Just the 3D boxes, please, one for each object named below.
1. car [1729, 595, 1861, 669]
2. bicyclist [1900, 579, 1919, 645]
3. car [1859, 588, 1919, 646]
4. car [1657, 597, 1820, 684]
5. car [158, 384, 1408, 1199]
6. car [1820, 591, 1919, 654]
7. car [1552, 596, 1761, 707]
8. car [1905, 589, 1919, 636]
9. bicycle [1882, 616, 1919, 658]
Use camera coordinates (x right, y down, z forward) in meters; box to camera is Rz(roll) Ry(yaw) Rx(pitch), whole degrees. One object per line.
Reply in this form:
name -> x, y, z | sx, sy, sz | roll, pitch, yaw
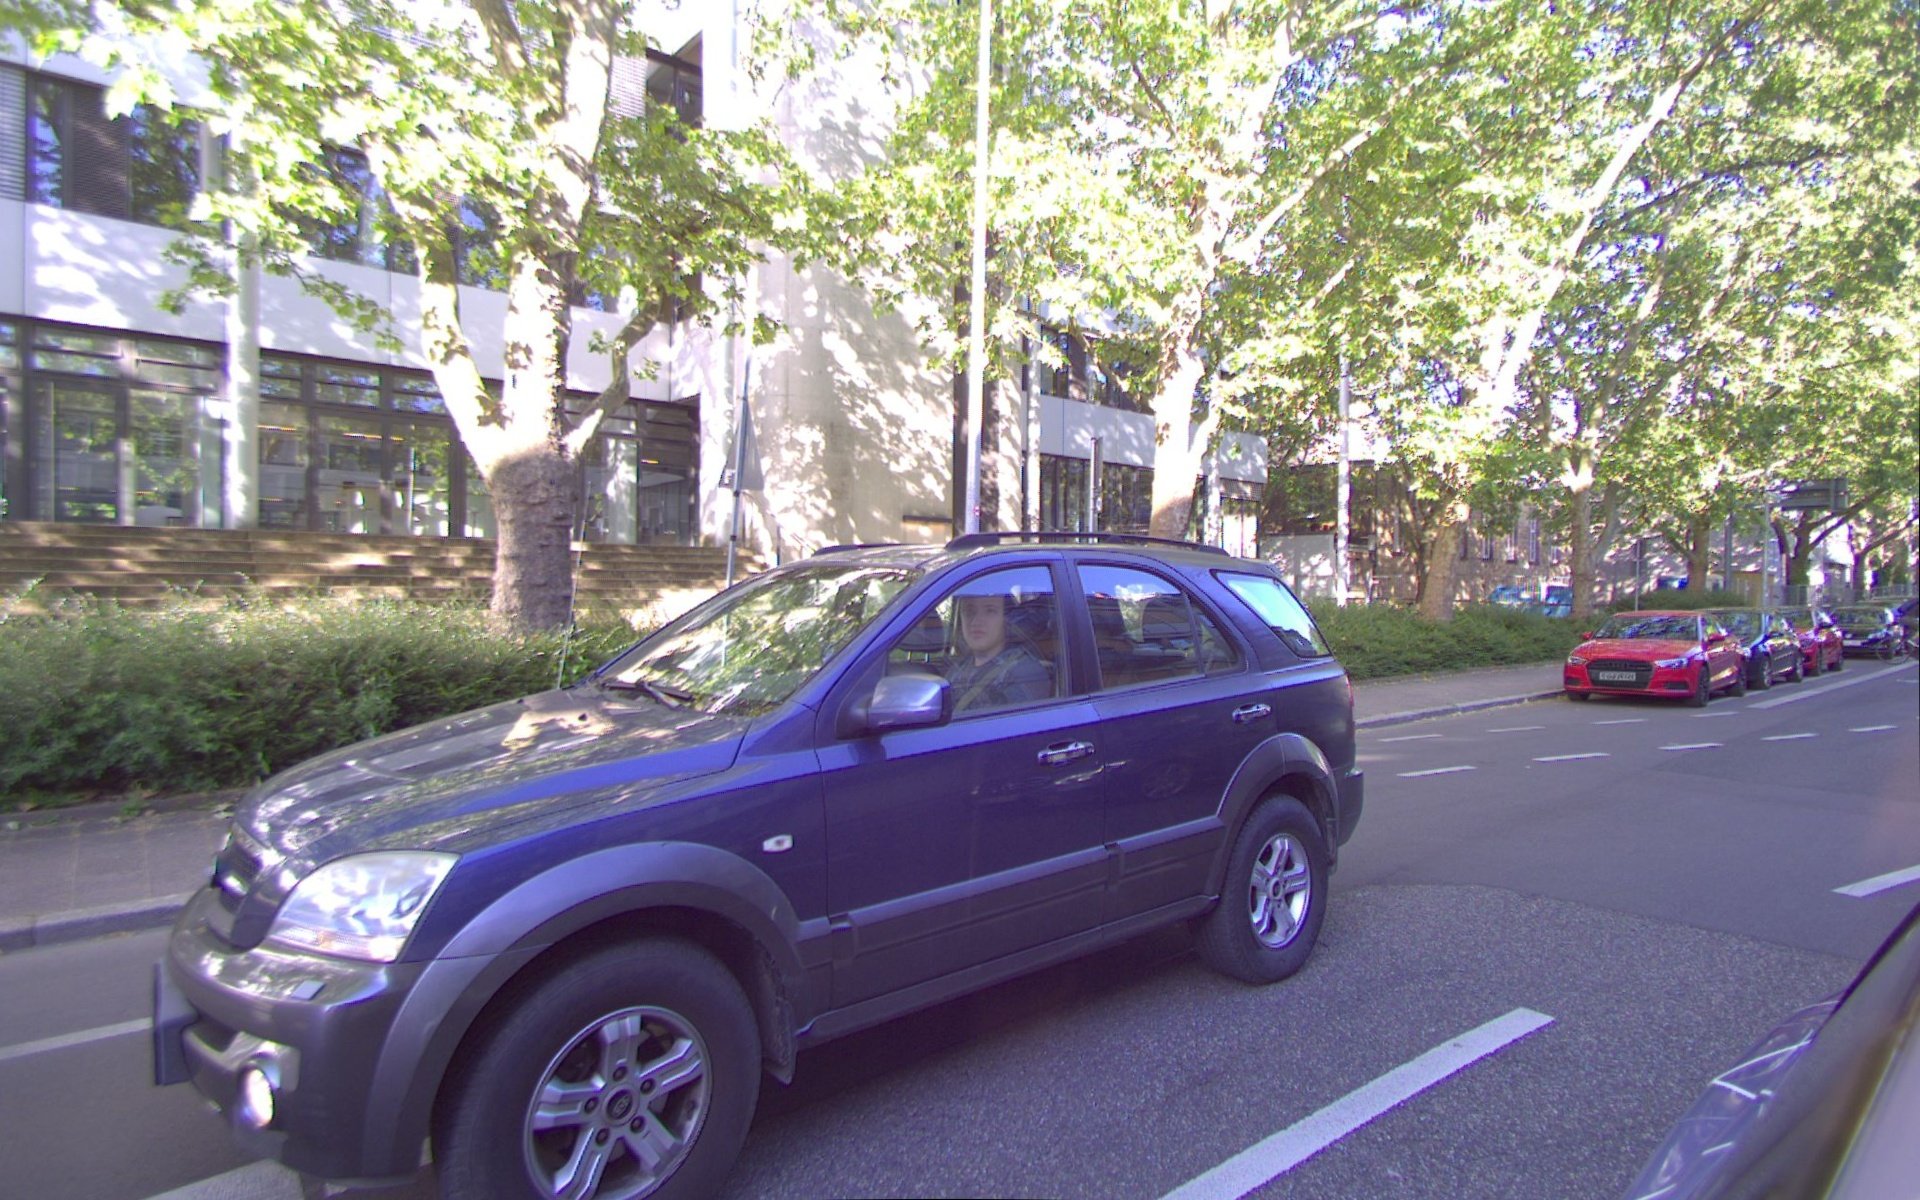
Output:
car -> 18.651, 0.664, 22.551 | 3.851, 1.511, 1.679 | 0, -1, -42
bicyclist -> 24.180, 0.301, 25.220 | 1.032, 1.640, 0.688 | 0, 0, 39
car -> 29.734, 0.503, 31.931 | 3.840, 1.708, 1.633 | 0, 1, -42
car -> 14.912, 0.704, 19.314 | 4.022, 1.472, 1.739 | 0, -1, -42
car -> -0.244, 0.532, 3.794 | 4.306, 1.793, 1.784 | 0, -1, -40
car -> 25.943, 0.572, 28.773 | 4.022, 1.653, 1.739 | 0, 1, -42
car -> 11.213, 0.731, 16.184 | 4.071, 1.548, 1.827 | 0, -1, -42
car -> 38.835, 0.488, 40.080 | 3.829, 1.818, 1.739 | 0, 1, -42
bicycle -> 24.206, 0.926, 25.200 | 1.790, 1.027, 0.724 | 0, 0, 38
